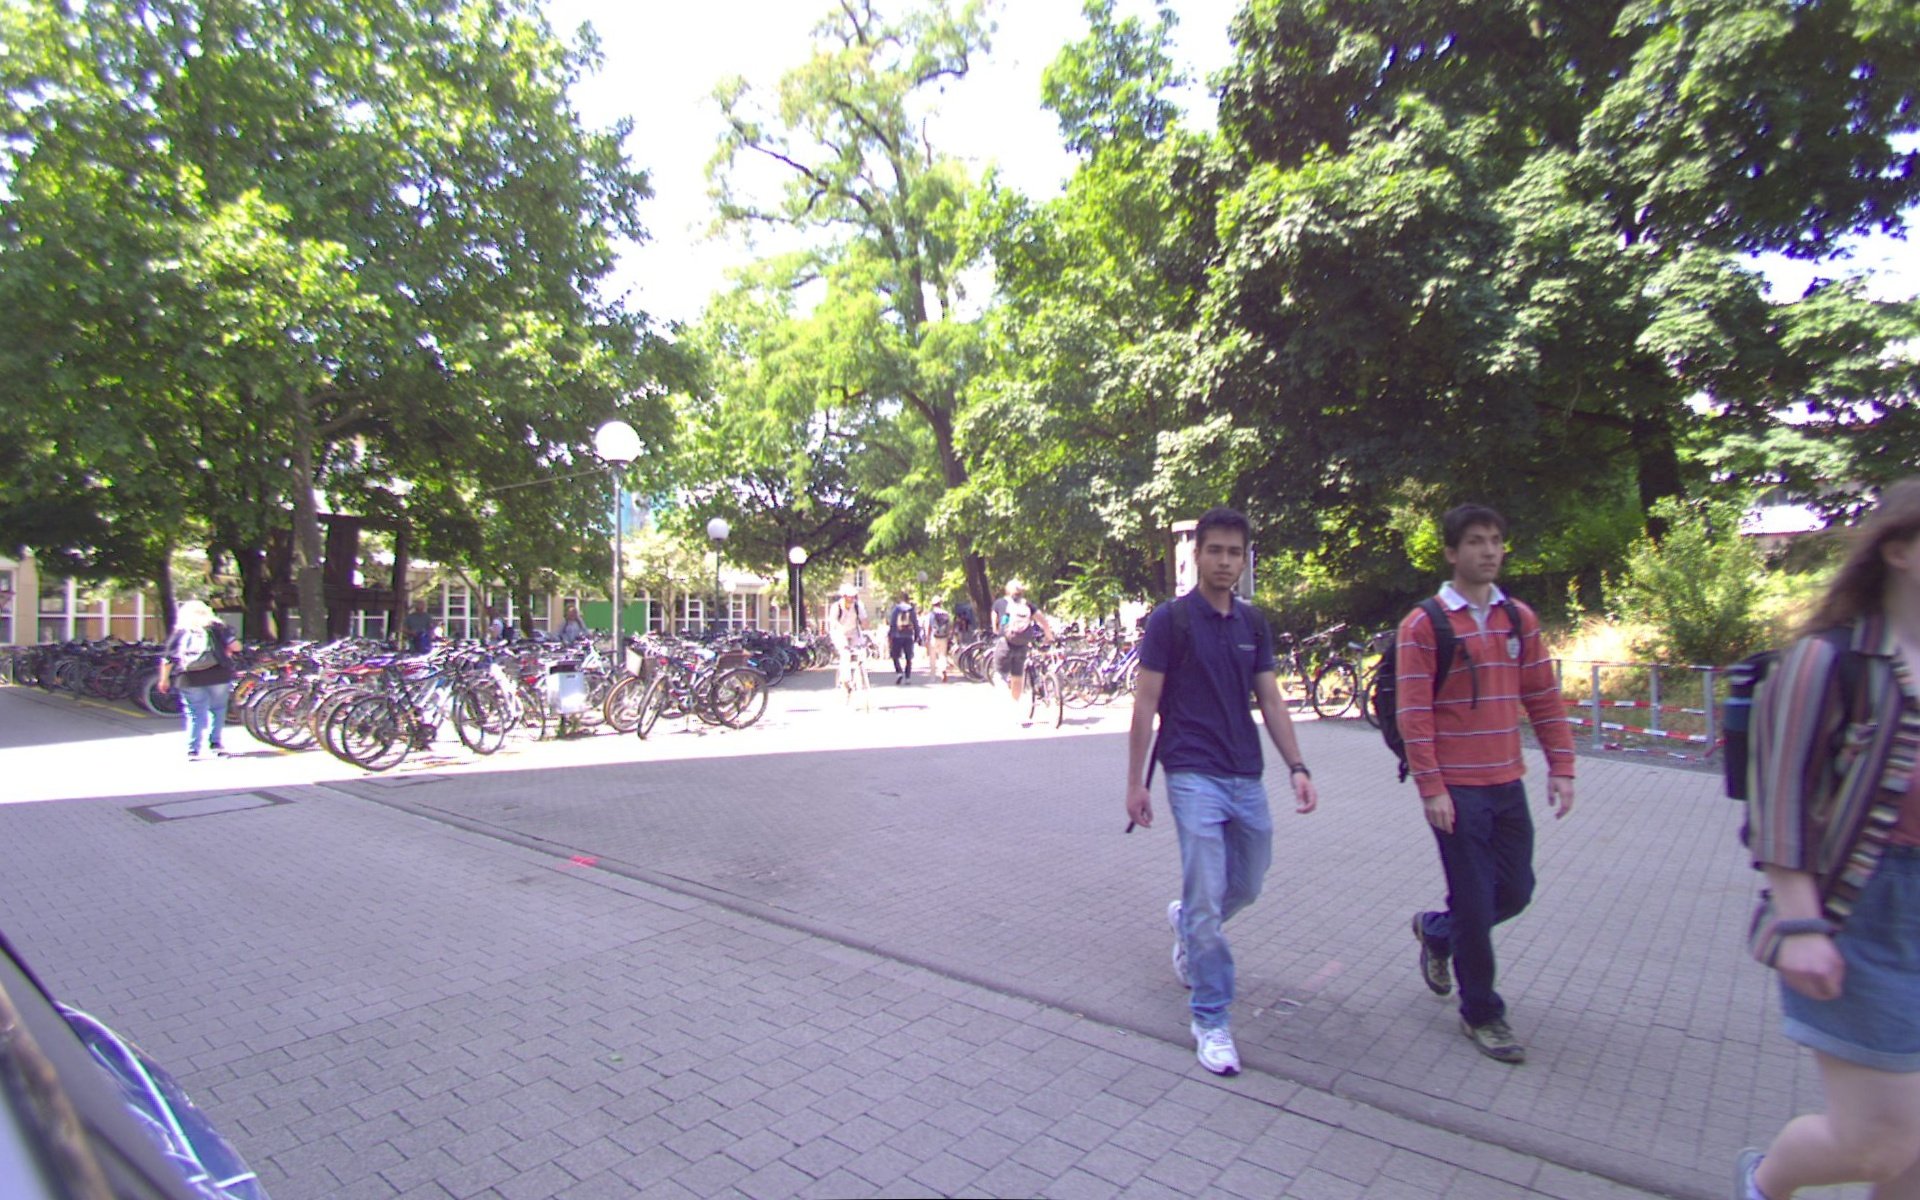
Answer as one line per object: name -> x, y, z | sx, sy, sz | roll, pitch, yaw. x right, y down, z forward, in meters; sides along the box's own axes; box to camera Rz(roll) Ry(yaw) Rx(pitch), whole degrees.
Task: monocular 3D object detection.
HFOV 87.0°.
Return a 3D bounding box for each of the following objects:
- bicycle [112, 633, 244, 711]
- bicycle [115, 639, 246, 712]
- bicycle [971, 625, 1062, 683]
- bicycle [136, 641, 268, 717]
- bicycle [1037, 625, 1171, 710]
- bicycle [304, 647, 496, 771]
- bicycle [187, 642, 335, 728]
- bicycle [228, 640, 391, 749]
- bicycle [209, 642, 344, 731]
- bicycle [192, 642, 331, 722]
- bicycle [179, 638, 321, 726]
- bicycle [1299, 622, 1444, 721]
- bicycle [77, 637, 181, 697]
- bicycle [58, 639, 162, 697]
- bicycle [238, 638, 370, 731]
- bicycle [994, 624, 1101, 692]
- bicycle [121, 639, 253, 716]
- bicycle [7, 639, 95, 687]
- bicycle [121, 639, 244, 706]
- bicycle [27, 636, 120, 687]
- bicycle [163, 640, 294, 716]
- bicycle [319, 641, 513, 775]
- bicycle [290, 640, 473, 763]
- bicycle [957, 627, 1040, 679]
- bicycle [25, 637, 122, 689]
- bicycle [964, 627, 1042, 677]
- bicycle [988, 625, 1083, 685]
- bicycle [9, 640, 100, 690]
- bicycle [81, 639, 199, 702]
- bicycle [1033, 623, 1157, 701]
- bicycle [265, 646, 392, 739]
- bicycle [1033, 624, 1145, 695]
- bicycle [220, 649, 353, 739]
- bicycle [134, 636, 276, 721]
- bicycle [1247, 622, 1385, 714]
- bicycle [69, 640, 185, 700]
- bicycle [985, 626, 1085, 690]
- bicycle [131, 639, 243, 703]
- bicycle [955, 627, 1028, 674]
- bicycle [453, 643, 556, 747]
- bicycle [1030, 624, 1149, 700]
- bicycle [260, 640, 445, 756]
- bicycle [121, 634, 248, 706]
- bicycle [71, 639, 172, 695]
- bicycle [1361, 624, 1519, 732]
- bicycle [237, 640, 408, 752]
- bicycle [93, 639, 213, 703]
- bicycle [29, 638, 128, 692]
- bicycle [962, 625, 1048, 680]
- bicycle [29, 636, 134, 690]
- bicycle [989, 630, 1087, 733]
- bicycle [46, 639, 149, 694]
bicycle -> -13.366, 1.198, 17.353 | 0.495, 1.245, 1.721 | -1, -1, 33
bicycle -> -13.047, 1.239, 16.988 | 0.495, 1.116, 1.682 | -1, -1, 30
bicycle -> 1.139, 1.083, 20.465 | 1.749, 1.118, 0.518 | 0, -1, -11
bicycle -> -12.249, 1.251, 16.409 | 0.472, 1.116, 1.683 | -1, -1, 28
bicycle -> 1.978, 0.919, 13.991 | 1.750, 1.118, 0.475 | 0, -1, -6
bicycle -> -5.647, 1.060, 10.302 | 0.473, 1.099, 1.680 | -1, -1, 34
bicycle -> -10.022, 1.186, 14.582 | 0.580, 1.116, 1.683 | -1, -1, 29
bicycle -> -7.788, 1.094, 12.207 | 0.471, 1.177, 1.686 | -1, -1, 23
bicycle -> -9.470, 1.164, 14.103 | 0.469, 1.116, 1.692 | -1, -1, 13
bicycle -> -10.660, 1.218, 15.499 | 0.563, 1.116, 1.683 | -1, -1, 29
bicycle -> -10.427, 1.171, 14.921 | 0.472, 1.196, 1.683 | -1, -1, 29
bicycle -> 4.973, 0.840, 12.215 | 1.747, 1.118, 0.475 | 0, -1, -20
bicycle -> -16.954, 1.343, 20.695 | 1.603, 1.152, 0.498 | 0, -1, -36
bicycle -> -17.548, 1.389, 20.937 | 1.603, 1.116, 0.498 | 0, -1, -36
bicycle -> -9.022, 1.126, 13.996 | 0.469, 1.166, 1.692 | -1, -1, 13
bicycle -> 1.505, 0.990, 17.448 | 1.749, 1.118, 0.475 | 0, -1, -11
bicycle -> -12.661, 1.237, 16.632 | 0.472, 1.154, 1.683 | -1, -1, 28
bicycle -> -22.463, 1.546, 25.033 | 1.606, 1.116, 0.497 | 0, -2, -45
bicycle -> -14.109, 1.283, 18.410 | 0.495, 1.116, 1.724 | -1, -1, 28
bicycle -> -21.191, 1.450, 24.213 | 0.497, 1.159, 1.608 | -2, -1, 40
bicycle -> -11.795, 1.231, 16.370 | 0.472, 1.116, 1.683 | -1, -1, 29
bicycle -> -5.309, 1.010, 9.978 | 0.472, 1.168, 1.681 | -1, -1, 32
bicycle -> -6.164, 1.037, 10.871 | 0.473, 1.177, 1.680 | -1, -1, 34
bicycle -> 0.853, 1.160, 22.398 | 1.750, 1.118, 0.518 | 0, -1, -7
bicycle -> -20.674, 1.449, 23.634 | 0.643, 1.116, 1.610 | -1, -1, 35
bicycle -> 0.992, 1.202, 23.648 | 1.750, 1.118, 0.518 | 0, -1, -7
bicycle -> 1.459, 1.053, 19.644 | 1.749, 1.118, 0.518 | 0, -1, -11
bicycle -> -21.944, 1.554, 24.532 | 1.606, 1.116, 0.691 | 0, -2, -45
bicycle -> -15.868, 1.339, 19.618 | 0.497, 1.116, 1.717 | -2, -1, 40
bicycle -> 2.001, 0.918, 15.099 | 1.750, 1.118, 0.475 | 0, -1, -6
bicycle -> -8.158, 1.164, 13.152 | 0.468, 1.070, 1.697 | -1, -1, 5
bicycle -> 2.116, 0.964, 16.622 | 1.749, 1.118, 0.475 | 0, -1, -11
bicycle -> -8.662, 1.180, 13.100 | 0.468, 1.026, 1.697 | -1, -1, 5
bicycle -> -11.628, 1.173, 15.641 | 0.535, 1.208, 1.681 | -1, -1, 32
bicycle -> 4.580, 0.852, 13.010 | 1.747, 1.118, 0.475 | 0, -1, -20
bicycle -> -16.549, 1.373, 20.162 | 1.711, 1.116, 0.576 | 0, -1, -31
bicycle -> 1.367, 1.047, 18.495 | 1.749, 1.118, 0.475 | 0, -1, -11
bicycle -> -14.593, 1.309, 19.159 | 0.492, 1.116, 1.731 | -1, -1, 16
bicycle -> 0.781, 1.260, 25.388 | 1.750, 1.118, 0.518 | 0, -1, -7
bicycle -> -5.313, 1.060, 11.749 | 1.700, 1.092, 0.501 | -2, -2, 44
bicycle -> 1.999, 0.947, 15.657 | 1.749, 1.118, 0.475 | 0, -1, -11
bicycle -> -6.823, 1.060, 11.410 | 1.752, 1.177, 0.475 | 0, -1, -37
bicycle -> -13.665, 1.209, 17.868 | 0.496, 1.187, 1.717 | -2, -1, 40
bicycle -> -17.778, 1.402, 21.495 | 1.603, 1.116, 0.564 | 0, -1, -36
bicycle -> 5.314, 0.830, 11.191 | 1.747, 1.118, 0.475 | 0, -1, -20
bicycle -> -7.396, 1.073, 11.831 | 0.472, 1.177, 1.683 | -1, -1, 28
bicycle -> -15.342, 1.324, 19.280 | 0.496, 1.135, 1.719 | -1, -1, 36
bicycle -> -19.868, 1.445, 22.836 | 0.496, 1.116, 1.610 | -1, -1, 35
bicycle -> 0.952, 1.111, 21.501 | 1.750, 1.118, 0.518 | 0, -1, -7
bicycle -> -20.163, 1.426, 23.256 | 0.496, 1.170, 1.764 | -1, -1, 35
bicycle -> 0.895, 0.930, 12.160 | 0.466, 1.118, 1.851 | 0, -1, -19
bicycle -> -19.011, 1.444, 22.364 | 1.699, 1.116, 0.720 | 0, -1, -39
